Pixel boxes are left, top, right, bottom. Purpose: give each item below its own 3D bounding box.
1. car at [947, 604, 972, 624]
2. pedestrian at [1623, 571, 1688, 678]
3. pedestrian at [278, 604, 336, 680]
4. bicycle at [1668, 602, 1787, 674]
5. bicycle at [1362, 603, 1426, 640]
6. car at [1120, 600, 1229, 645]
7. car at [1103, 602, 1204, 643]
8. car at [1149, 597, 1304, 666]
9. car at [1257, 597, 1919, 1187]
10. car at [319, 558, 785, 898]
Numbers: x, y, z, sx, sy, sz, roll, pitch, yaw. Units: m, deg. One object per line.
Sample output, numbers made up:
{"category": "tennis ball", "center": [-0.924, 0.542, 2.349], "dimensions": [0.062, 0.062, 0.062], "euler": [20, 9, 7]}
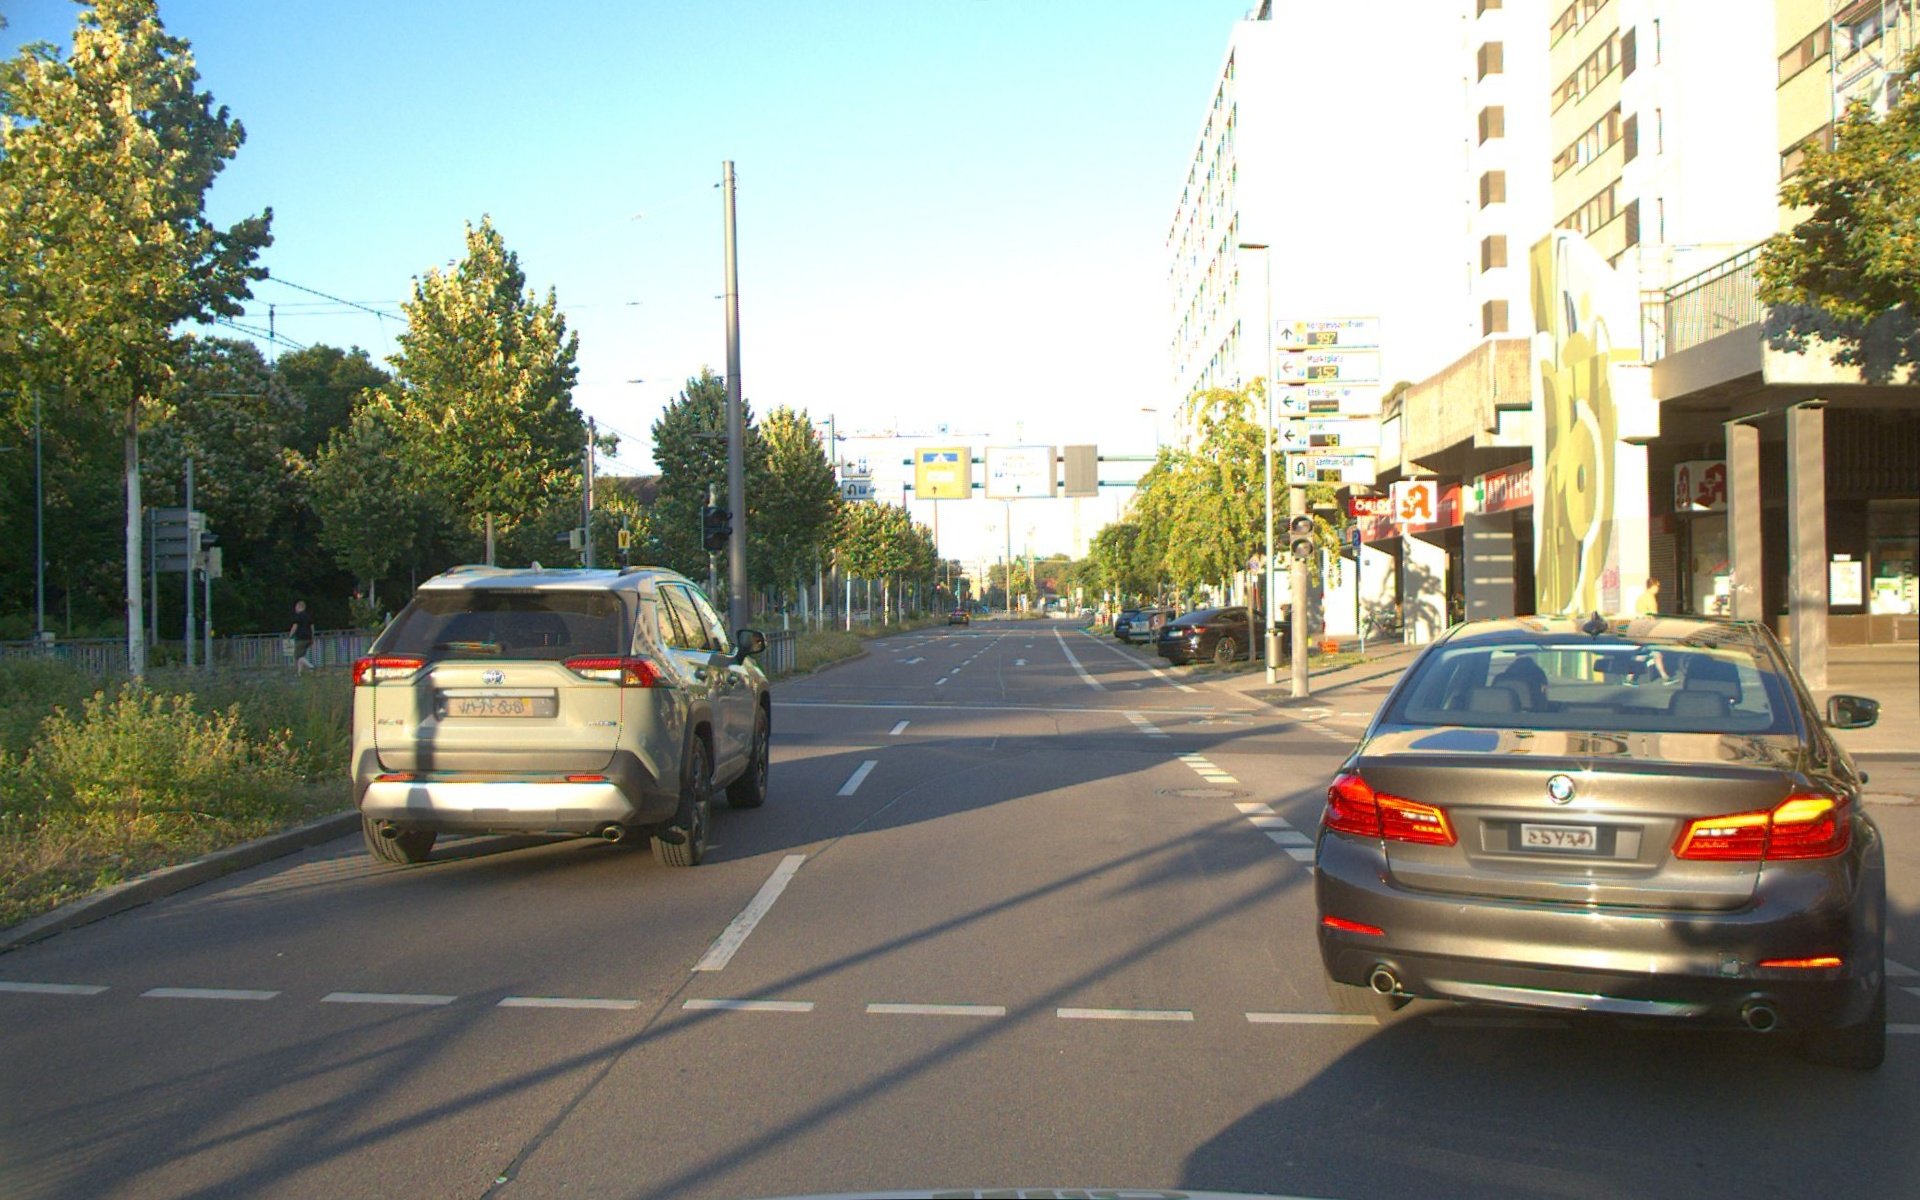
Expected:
{"category": "car", "center": [0.015, 1.096, 134.303], "dimensions": [1.938, 1.458, 4.843], "euler": [1, 1, 1]}
{"category": "pedestrian", "center": [11.601, 0.407, 27.608], "dimensions": [0.817, 1.742, 0.648], "euler": [-1, 0, 5]}
{"category": "pedestrian", "center": [-14.152, 0.896, 35.859], "dimensions": [0.817, 1.614, 0.812], "euler": [-1, 0, 17]}
{"category": "bicycle", "center": [13.258, 0.642, 28.625], "dimensions": [0.677, 1.169, 2.013], "euler": [3, -1, -17]}
{"category": "bicycle", "center": [14.753, 0.720, 56.246], "dimensions": [1.973, 1.169, 0.691], "euler": [2, -1, 7]}
{"category": "car", "center": [8.604, 0.886, 66.109], "dimensions": [4.219, 1.687, 1.838], "euler": [0, 1, -35]}
{"category": "car", "center": [8.491, 0.973, 72.490], "dimensions": [4.217, 1.687, 1.839], "euler": [0, 1, -34]}
{"category": "car", "center": [7.107, 0.785, 43.915], "dimensions": [4.232, 1.687, 1.832], "euler": [0, 1, -42]}
{"category": "car", "center": [2.760, 0.782, 6.861], "dimensions": [1.894, 1.507, 4.519], "euler": [1, 1, 25]}
{"category": "car", "center": [-2.272, 0.605, 10.423], "dimensions": [1.816, 1.687, 4.269], "euler": [1, 1, 1]}
